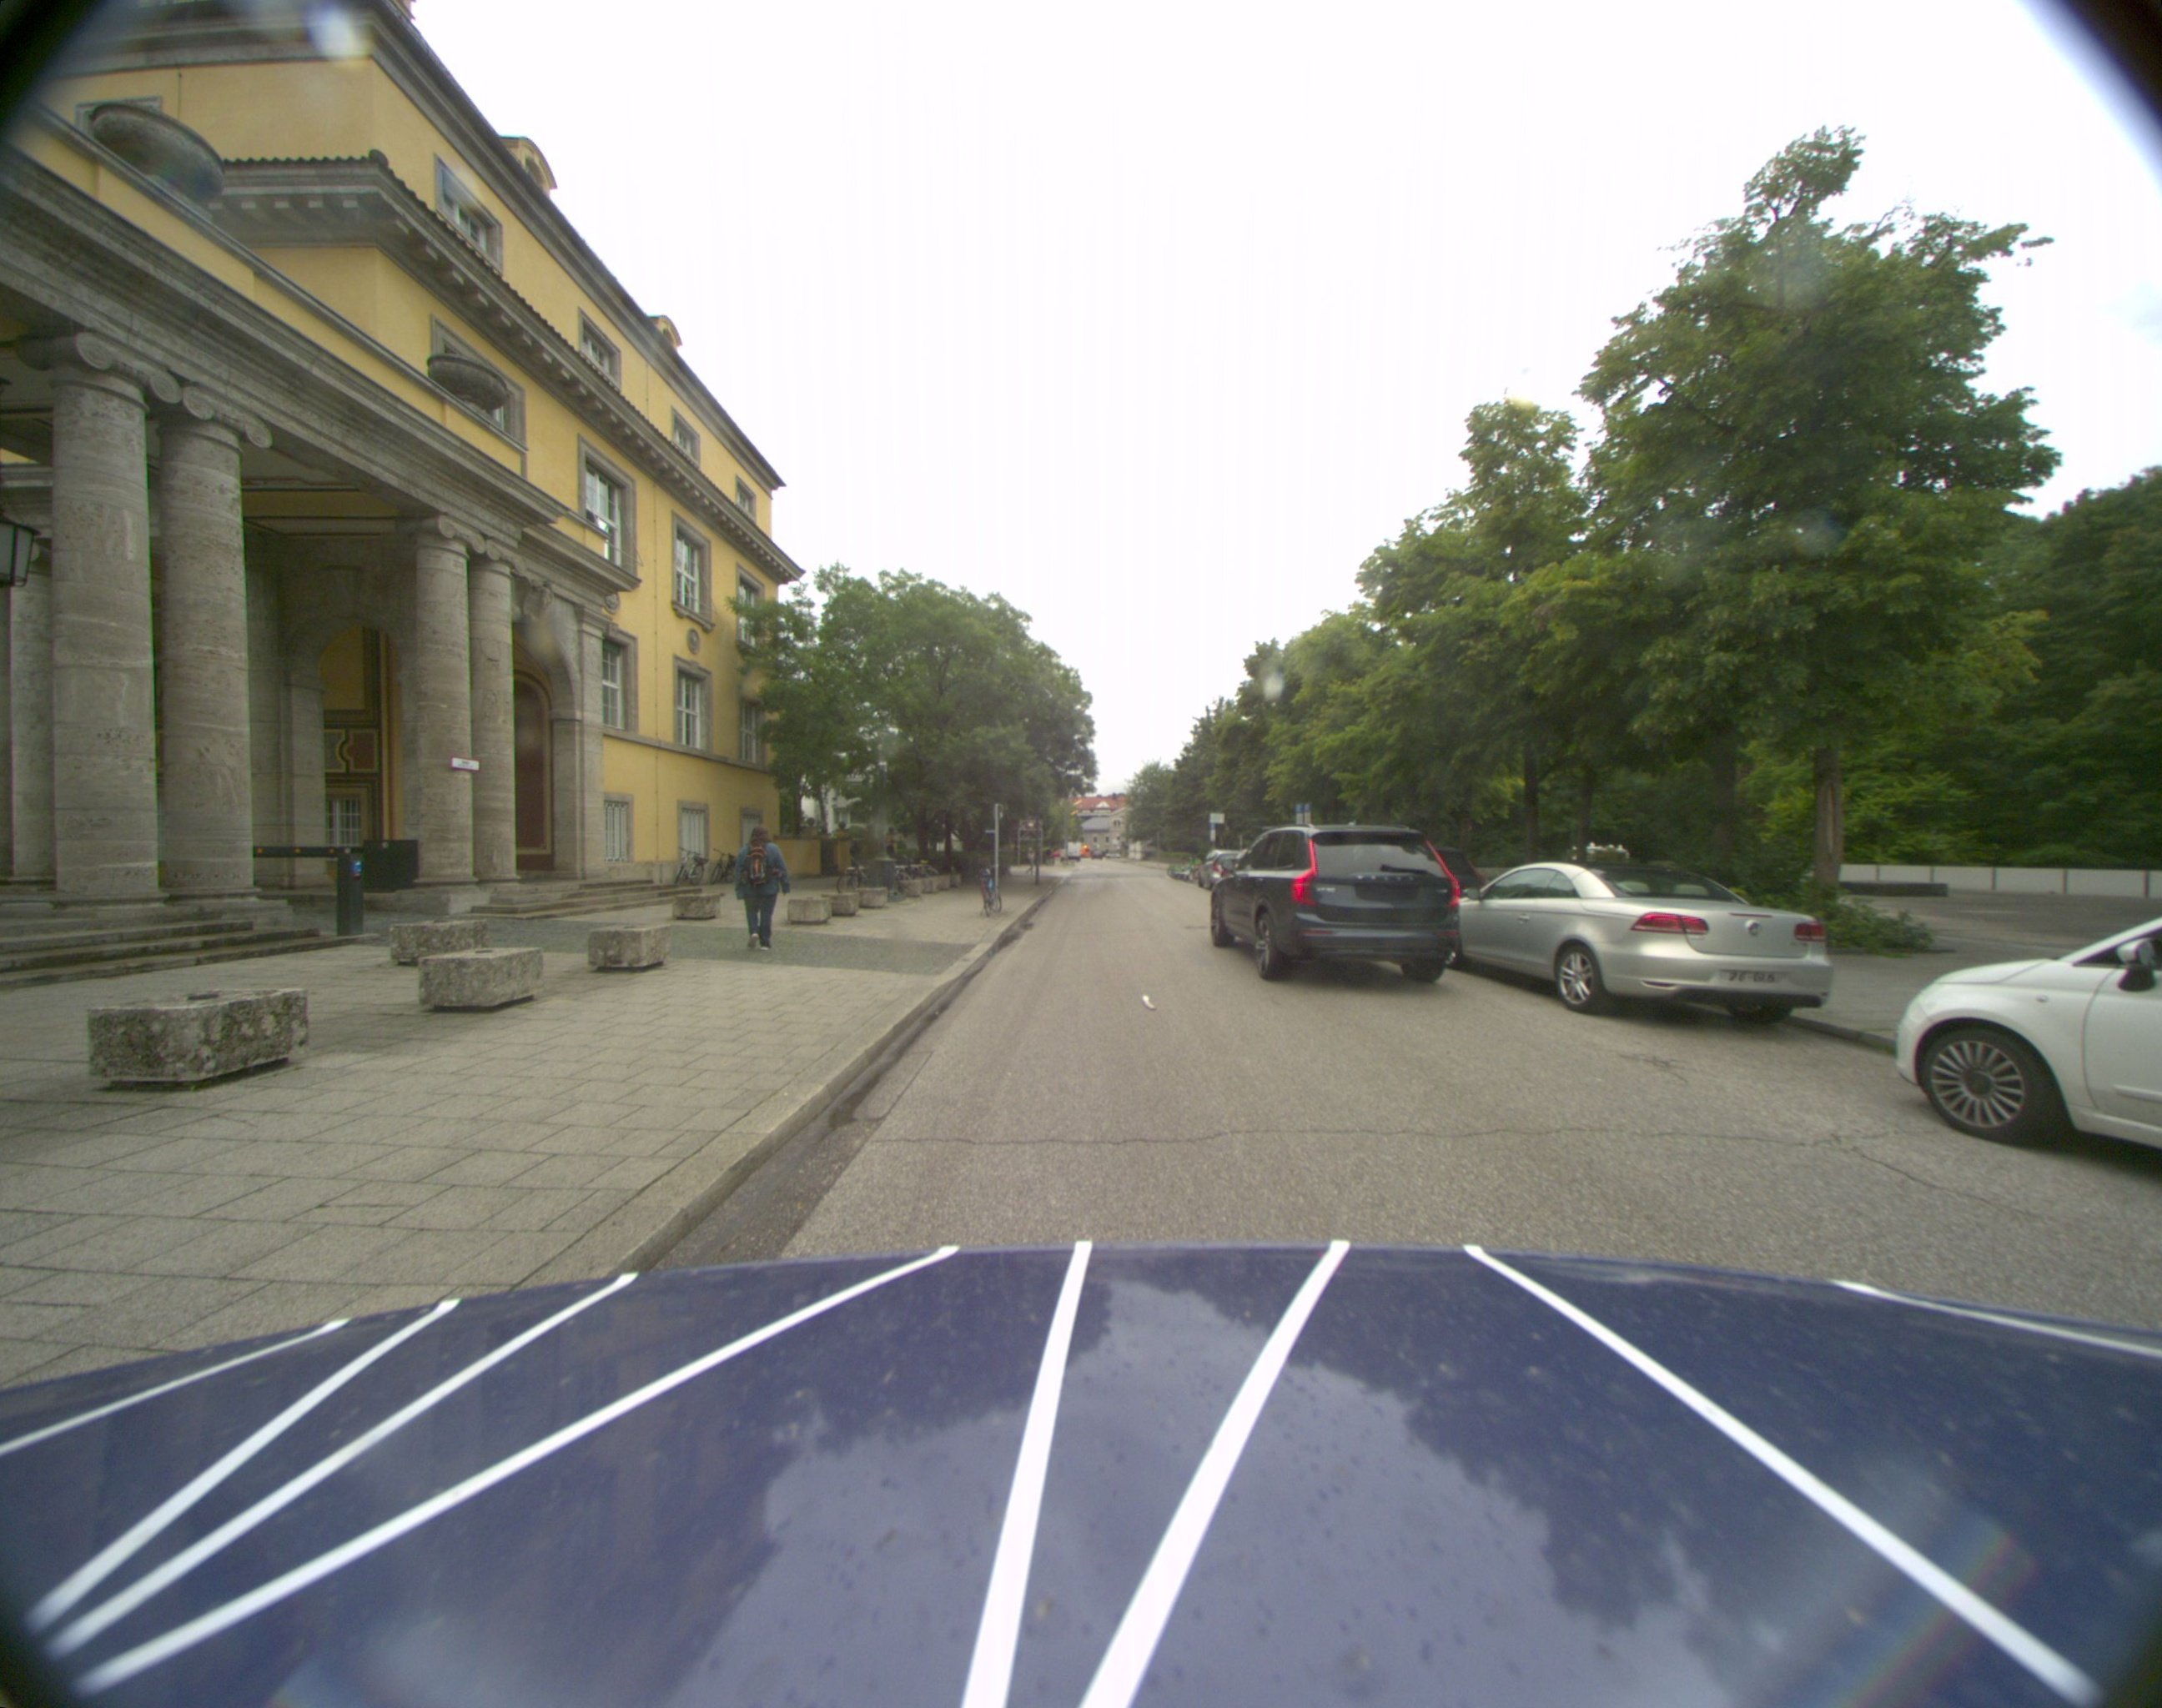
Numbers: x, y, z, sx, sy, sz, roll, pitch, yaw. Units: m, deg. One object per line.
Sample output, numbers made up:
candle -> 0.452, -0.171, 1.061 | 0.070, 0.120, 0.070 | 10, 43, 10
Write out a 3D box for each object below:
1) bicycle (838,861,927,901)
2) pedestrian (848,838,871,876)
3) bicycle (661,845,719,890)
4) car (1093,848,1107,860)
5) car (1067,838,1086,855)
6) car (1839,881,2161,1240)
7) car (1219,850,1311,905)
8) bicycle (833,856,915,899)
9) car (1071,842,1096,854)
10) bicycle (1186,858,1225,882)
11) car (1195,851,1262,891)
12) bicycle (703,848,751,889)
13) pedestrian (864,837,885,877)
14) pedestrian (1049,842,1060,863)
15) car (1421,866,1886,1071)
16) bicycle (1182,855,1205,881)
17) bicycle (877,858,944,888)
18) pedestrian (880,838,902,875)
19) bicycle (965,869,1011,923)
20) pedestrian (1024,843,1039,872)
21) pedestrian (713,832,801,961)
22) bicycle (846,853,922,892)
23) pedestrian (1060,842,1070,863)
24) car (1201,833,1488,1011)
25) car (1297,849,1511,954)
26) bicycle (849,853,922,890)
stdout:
bicycle -> -5.644, 0.770, 21.750 | 2.370, 1.000, 0.677 | 3, 1, -8
pedestrian -> -10.462, 0.144, 35.894 | 0.741, 1.734, 0.841 | 3, 2, 1
bicycle -> -12.055, 0.381, 23.515 | 0.601, 1.299, 2.264 | 1, 1, 1
car -> 3.157, 0.029, 126.179 | 2.222, 1.840, 4.730 | -3, 1, 1
car -> -0.623, -1.045, 106.232 | 2.236, 2.289, 4.728 | -3, 1, -4
car -> 5.364, 0.932, 2.807 | 1.547, 1.462, 3.552 | 2, 1, 1
car -> 5.753, 0.673, 24.292 | 1.998, 1.535, 4.364 | 1, 1, 2
bicycle -> -6.200, 0.708, 22.835 | 2.265, 1.088, 0.601 | 5, 1, -10
car -> 0.492, -1.359, 169.087 | 4.973, 2.521, 2.578 | -1, 2, 44
bicycle -> 5.909, 0.776, 36.106 | 1.700, 1.101, 0.598 | -1, 1, -7
car -> 5.897, 0.627, 30.820 | 1.998, 1.452, 4.364 | 1, 1, 2
bicycle -> -12.015, 0.467, 25.874 | 0.601, 1.299, 2.165 | 1, 1, 1
pedestrian -> -9.754, 0.126, 35.892 | 0.659, 1.855, 0.821 | 3, 2, 1
pedestrian -> -2.401, -0.117, 69.255 | 0.777, 1.855, 0.996 | -3, 2, -7
car -> 5.382, 0.920, 8.016 | 1.762, 1.392, 4.217 | 3, 1, 2
bicycle -> 5.577, 0.684, 37.637 | 0.574, 1.275, 1.421 | -1, 1, 33
bicycle -> -6.219, 0.681, 27.792 | 2.261, 1.005, 0.602 | 2, 0, 3
pedestrian -> -9.801, 0.106, 39.247 | 0.782, 1.855, 1.035 | 3, 2, 1
bicycle -> -2.142, 0.938, 17.741 | 0.762, 1.094, 2.263 | 2, 1, 0
pedestrian -> -3.007, 0.186, 46.638 | 0.798, 1.722, 0.660 | -3, 2, 0
pedestrian -> -4.575, 0.566, 10.804 | 0.790, 1.736, 1.055 | 1, 1, 0
bicycle -> -6.377, 0.593, 24.725 | 2.265, 1.053, 0.601 | 5, 1, -10
pedestrian -> -1.483, -0.164, 69.421 | 0.777, 1.855, 0.997 | -3, 2, -5
car -> 2.936, 0.633, 9.808 | 1.965, 1.672, 4.911 | 2, 1, 0
car -> 5.560, 0.711, 13.838 | 1.998, 1.574, 4.521 | 1, 1, 1
bicycle -> -6.585, 0.589, 25.640 | 2.265, 1.018, 0.601 | 5, 1, -10
